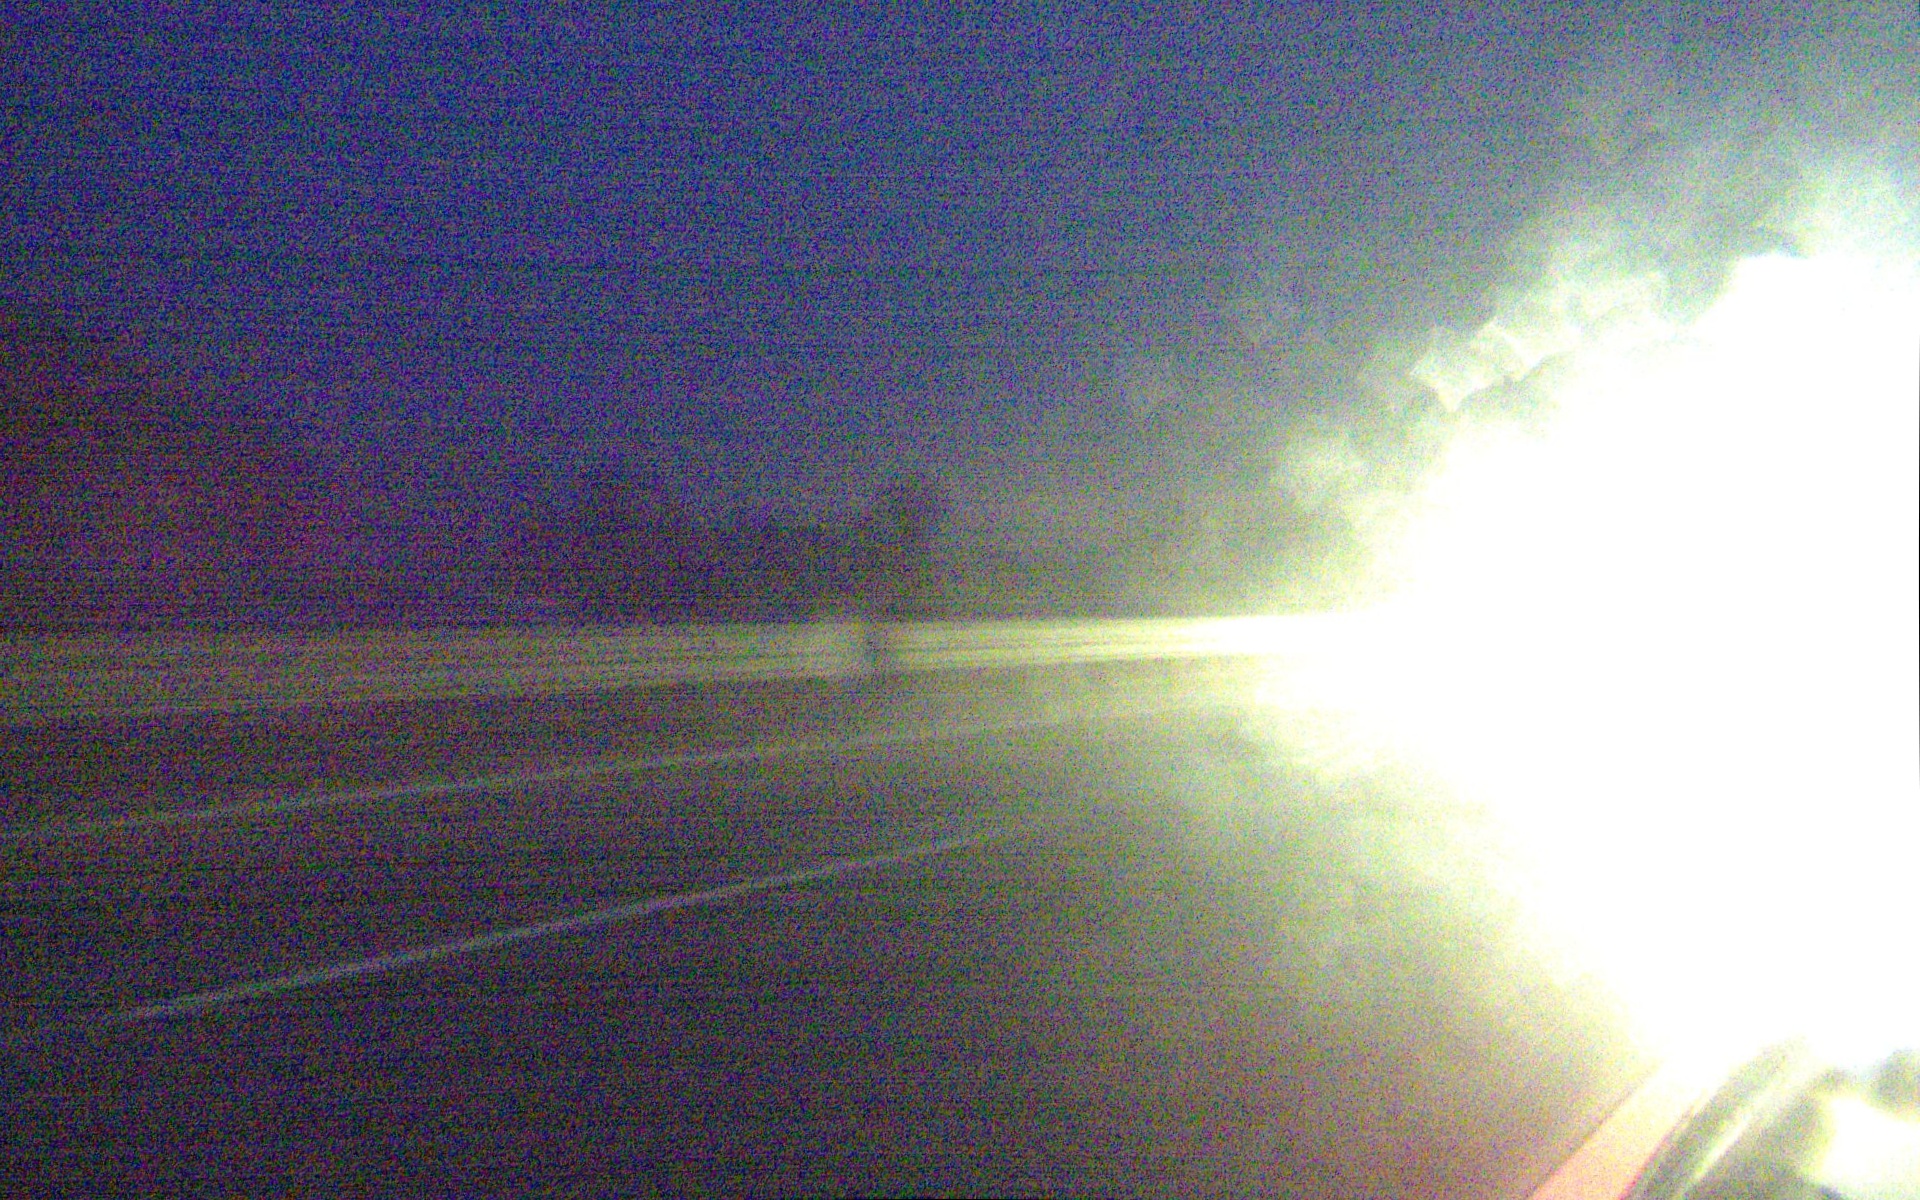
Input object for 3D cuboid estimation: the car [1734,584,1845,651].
[{"bbox_3d":[24.948,0.509,30.383,4.616,1.870,1.830,1,-1,-41],"label":"car"}]
